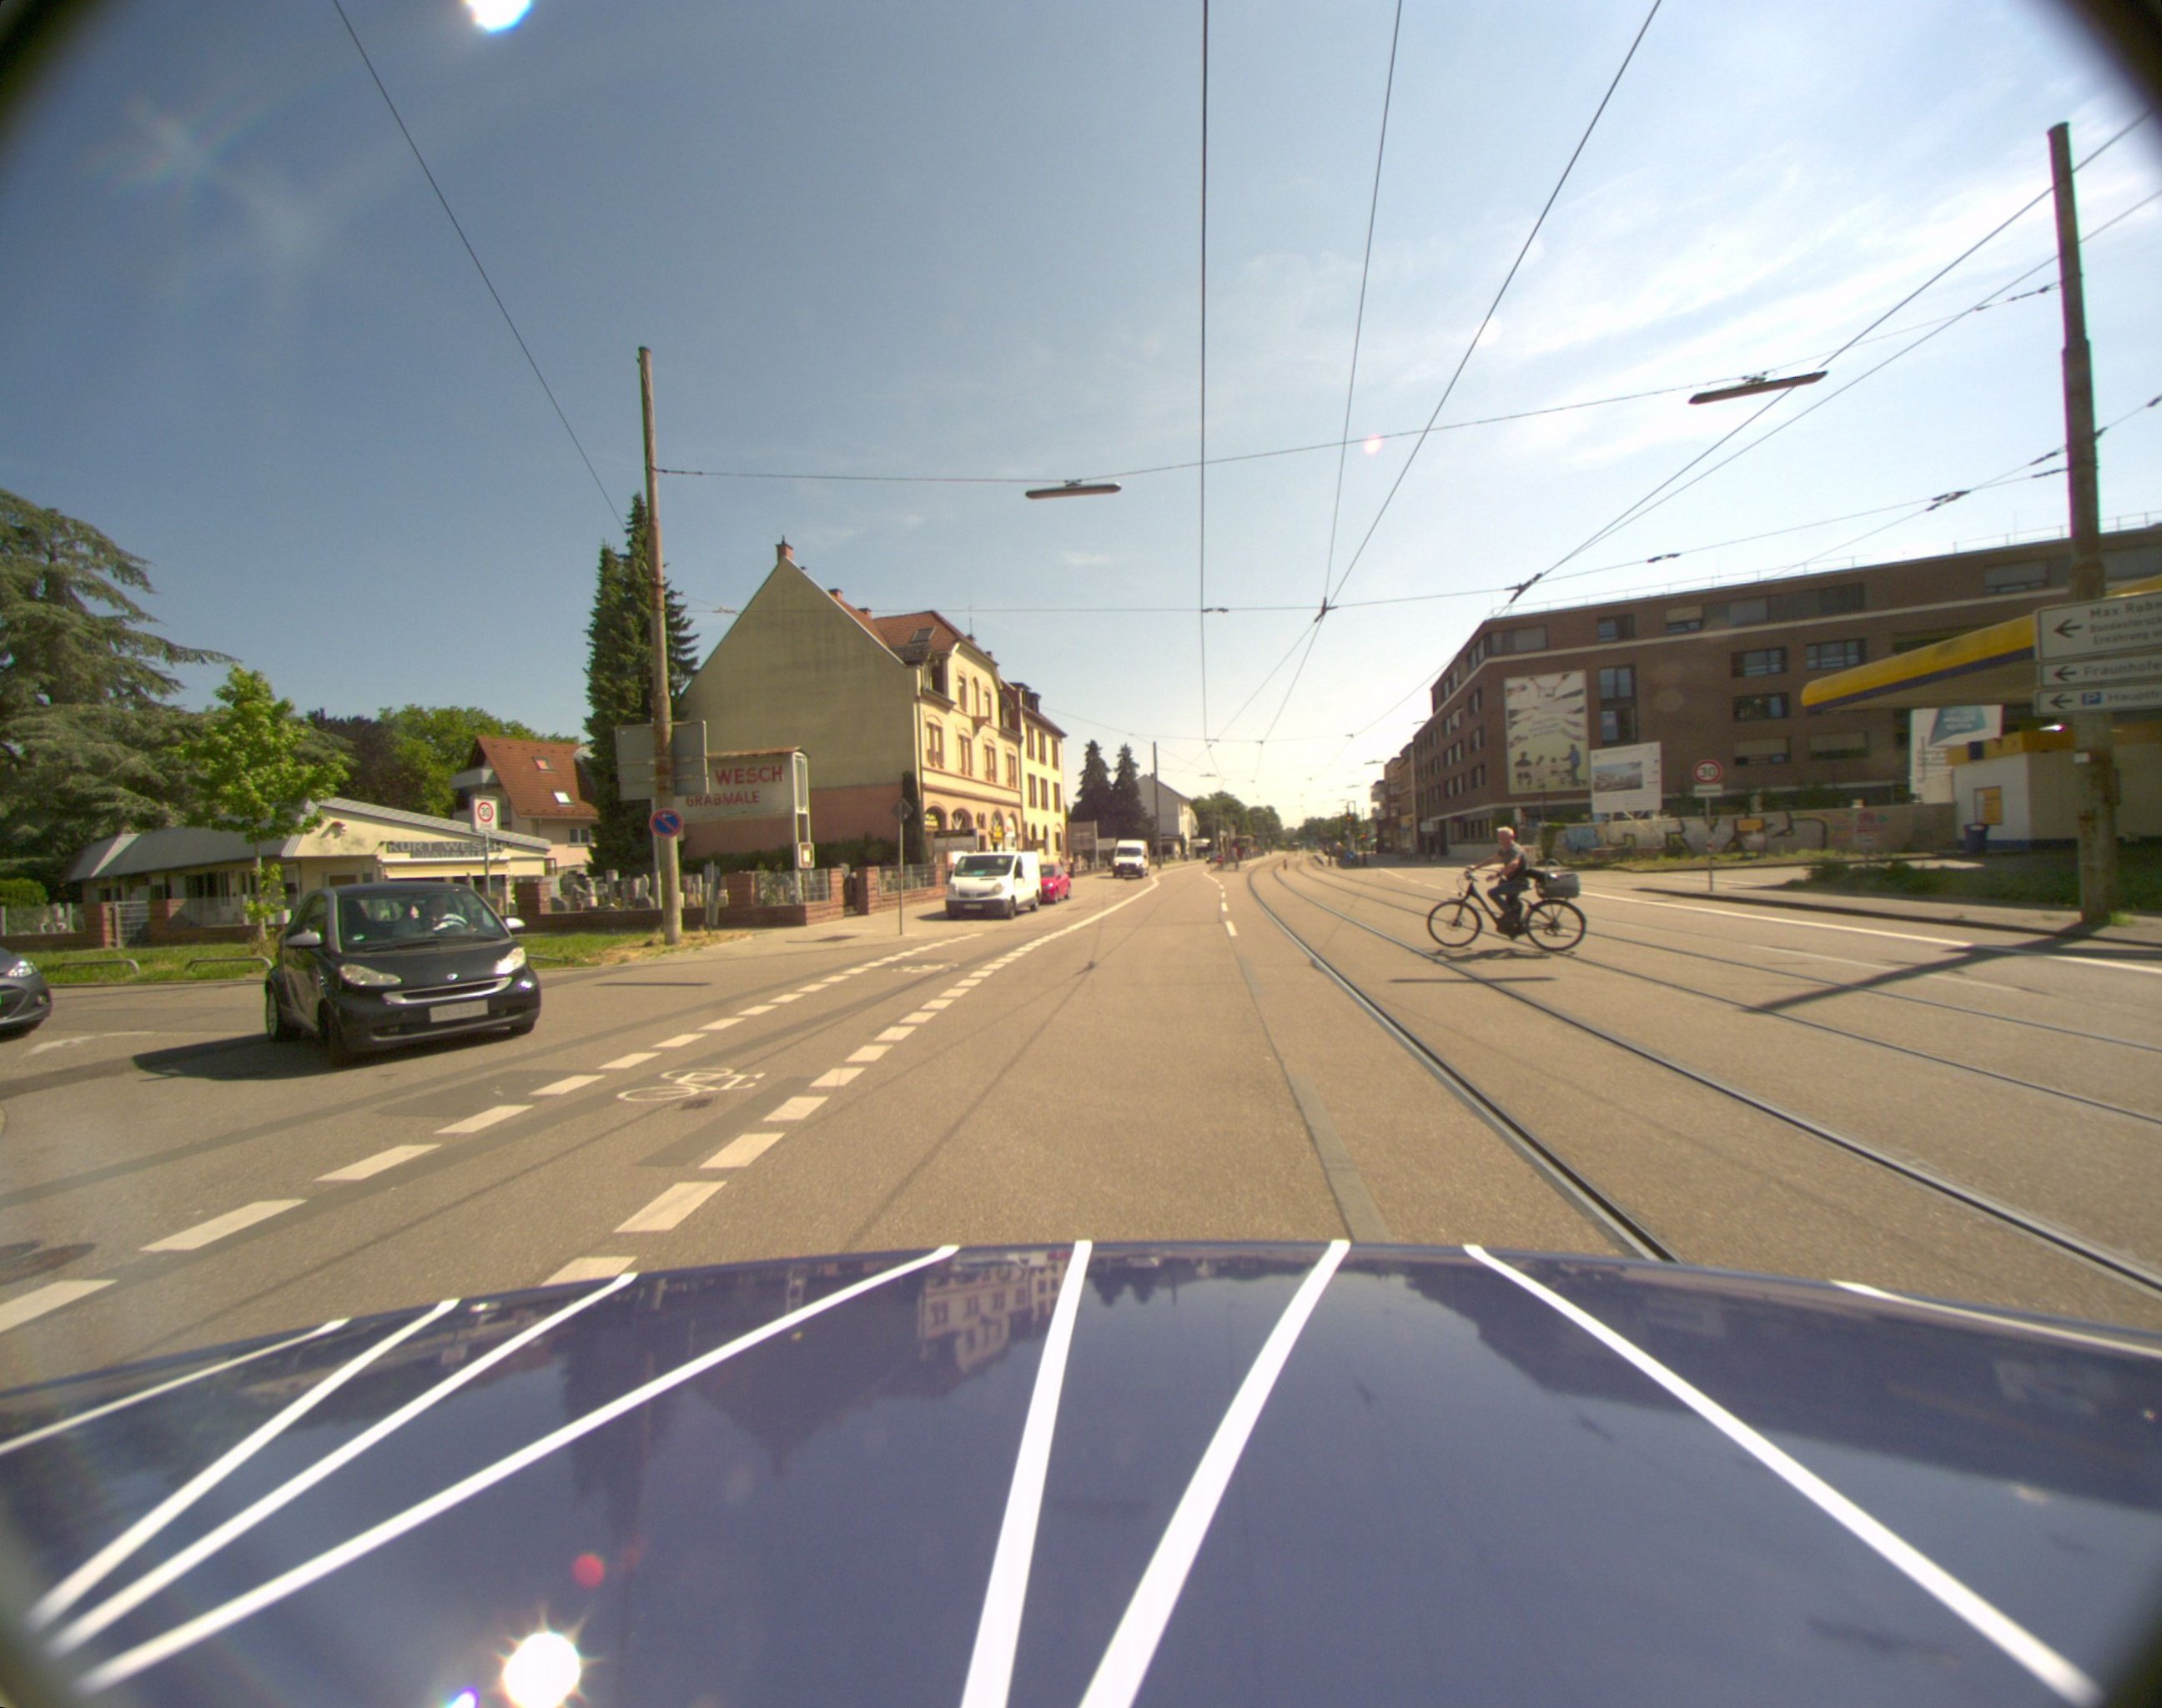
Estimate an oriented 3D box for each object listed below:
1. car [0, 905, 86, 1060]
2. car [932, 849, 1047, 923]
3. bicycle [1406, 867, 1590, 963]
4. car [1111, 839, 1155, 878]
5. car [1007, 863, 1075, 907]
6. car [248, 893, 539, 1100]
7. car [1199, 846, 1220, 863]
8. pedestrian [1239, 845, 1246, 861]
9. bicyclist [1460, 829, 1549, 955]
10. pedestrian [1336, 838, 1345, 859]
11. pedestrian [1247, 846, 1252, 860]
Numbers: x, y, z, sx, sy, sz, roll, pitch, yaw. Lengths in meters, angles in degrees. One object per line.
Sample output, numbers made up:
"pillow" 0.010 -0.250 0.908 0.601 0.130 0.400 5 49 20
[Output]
"car" -12.768 1.397 7.612 3.691 1.518 1.706 -3 0 7
"car" -2.618 0.867 23.179 2.087 2.002 4.912 -1 0 10
"bicycle" 5.664 0.819 10.402 2.117 1.190 0.613 -3 1 33
"car" 3.690 0.288 52.536 2.333 2.521 6.511 0 1 10
"car" -1.447 1.137 29.149 1.723 1.398 4.004 -3 0 9
"car" -6.801 1.205 7.460 2.968 1.530 1.482 -2 1 36
"car" 15.706 0.029 92.652 1.996 2.002 4.004 -2 0 15
"pedestrian" 17.785 -0.122 83.809 0.706 1.680 0.416 -3 1 8
"bicyclist" 5.673 0.488 10.186 0.962 1.586 0.908 -2 1 30
"pedestrian" 22.176 -0.479 64.891 0.557 1.750 0.794 -3 1 10
"pedestrian" 20.877 -0.148 94.247 0.416 1.680 0.707 -3 1 2
